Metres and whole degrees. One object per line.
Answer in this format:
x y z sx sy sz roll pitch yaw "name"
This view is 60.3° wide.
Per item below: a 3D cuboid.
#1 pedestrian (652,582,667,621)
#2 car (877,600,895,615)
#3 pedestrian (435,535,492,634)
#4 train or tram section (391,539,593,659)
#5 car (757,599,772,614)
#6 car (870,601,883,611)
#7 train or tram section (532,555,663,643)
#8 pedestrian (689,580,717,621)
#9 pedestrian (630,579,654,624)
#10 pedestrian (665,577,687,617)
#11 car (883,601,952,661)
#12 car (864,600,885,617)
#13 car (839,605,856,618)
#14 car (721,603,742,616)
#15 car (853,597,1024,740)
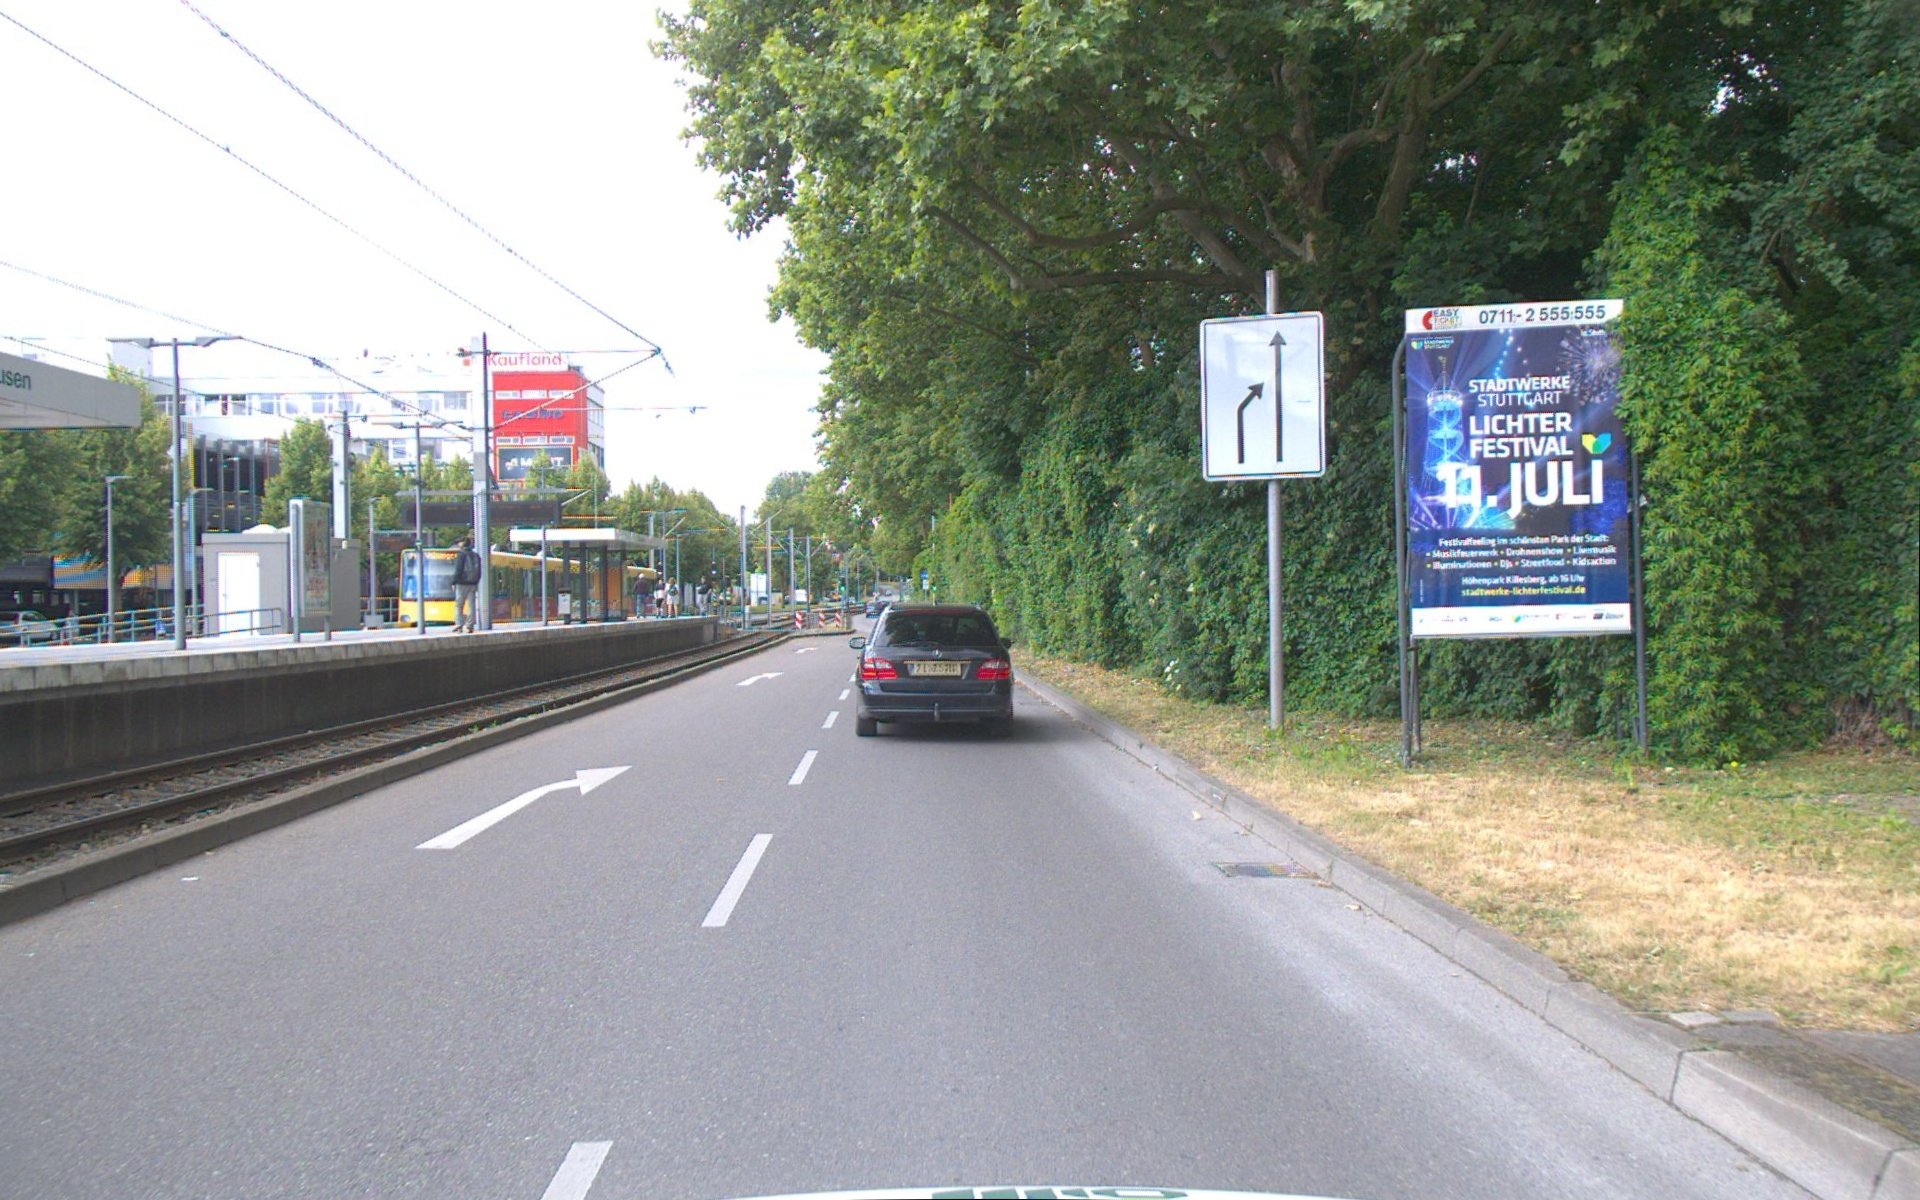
-11.729 0.071 64.615 0.466 1.509 0.542 -2 -1 -6 "pedestrian"
-8.031 0.777 179.101 1.788 1.557 3.927 0 0 -1 "car"
-9.130 -0.276 30.453 0.734 1.774 0.936 -2 -1 -2 "pedestrian"
-17.898 -0.014 65.272 2.700 3.950 18.629 -2 0 0 "train or tram section"
-29.715 1.008 251.647 1.954 2.049 3.998 -2 0 -3 "car"
-12.203 0.871 241.612 1.788 1.557 3.985 0 0 -1 "car"
-18.035 0.087 83.941 2.700 3.896 18.627 -1 -1 -1 "train or tram section"
-10.913 0.029 70.260 0.732 1.707 0.871 -3 -1 41 "pedestrian"
-12.355 0.048 64.319 0.756 1.707 0.790 -2 -1 -3 "pedestrian"
-10.955 -0.101 63.778 0.510 1.508 0.579 -3 -1 36 "pedestrian"
-1.206 0.804 45.444 1.789 1.557 4.413 0 0 -3 "car"
-7.987 0.754 155.407 1.788 1.556 4.415 -1 0 -1 "car"
-13.404 1.381 197.301 1.788 1.557 3.927 0 0 -1 "car"
-30.457 1.257 220.672 1.952 1.773 4.988 -2 0 2 "car"
-0.291 0.729 19.606 1.796 1.504 4.414 0 0 -2 "car"
